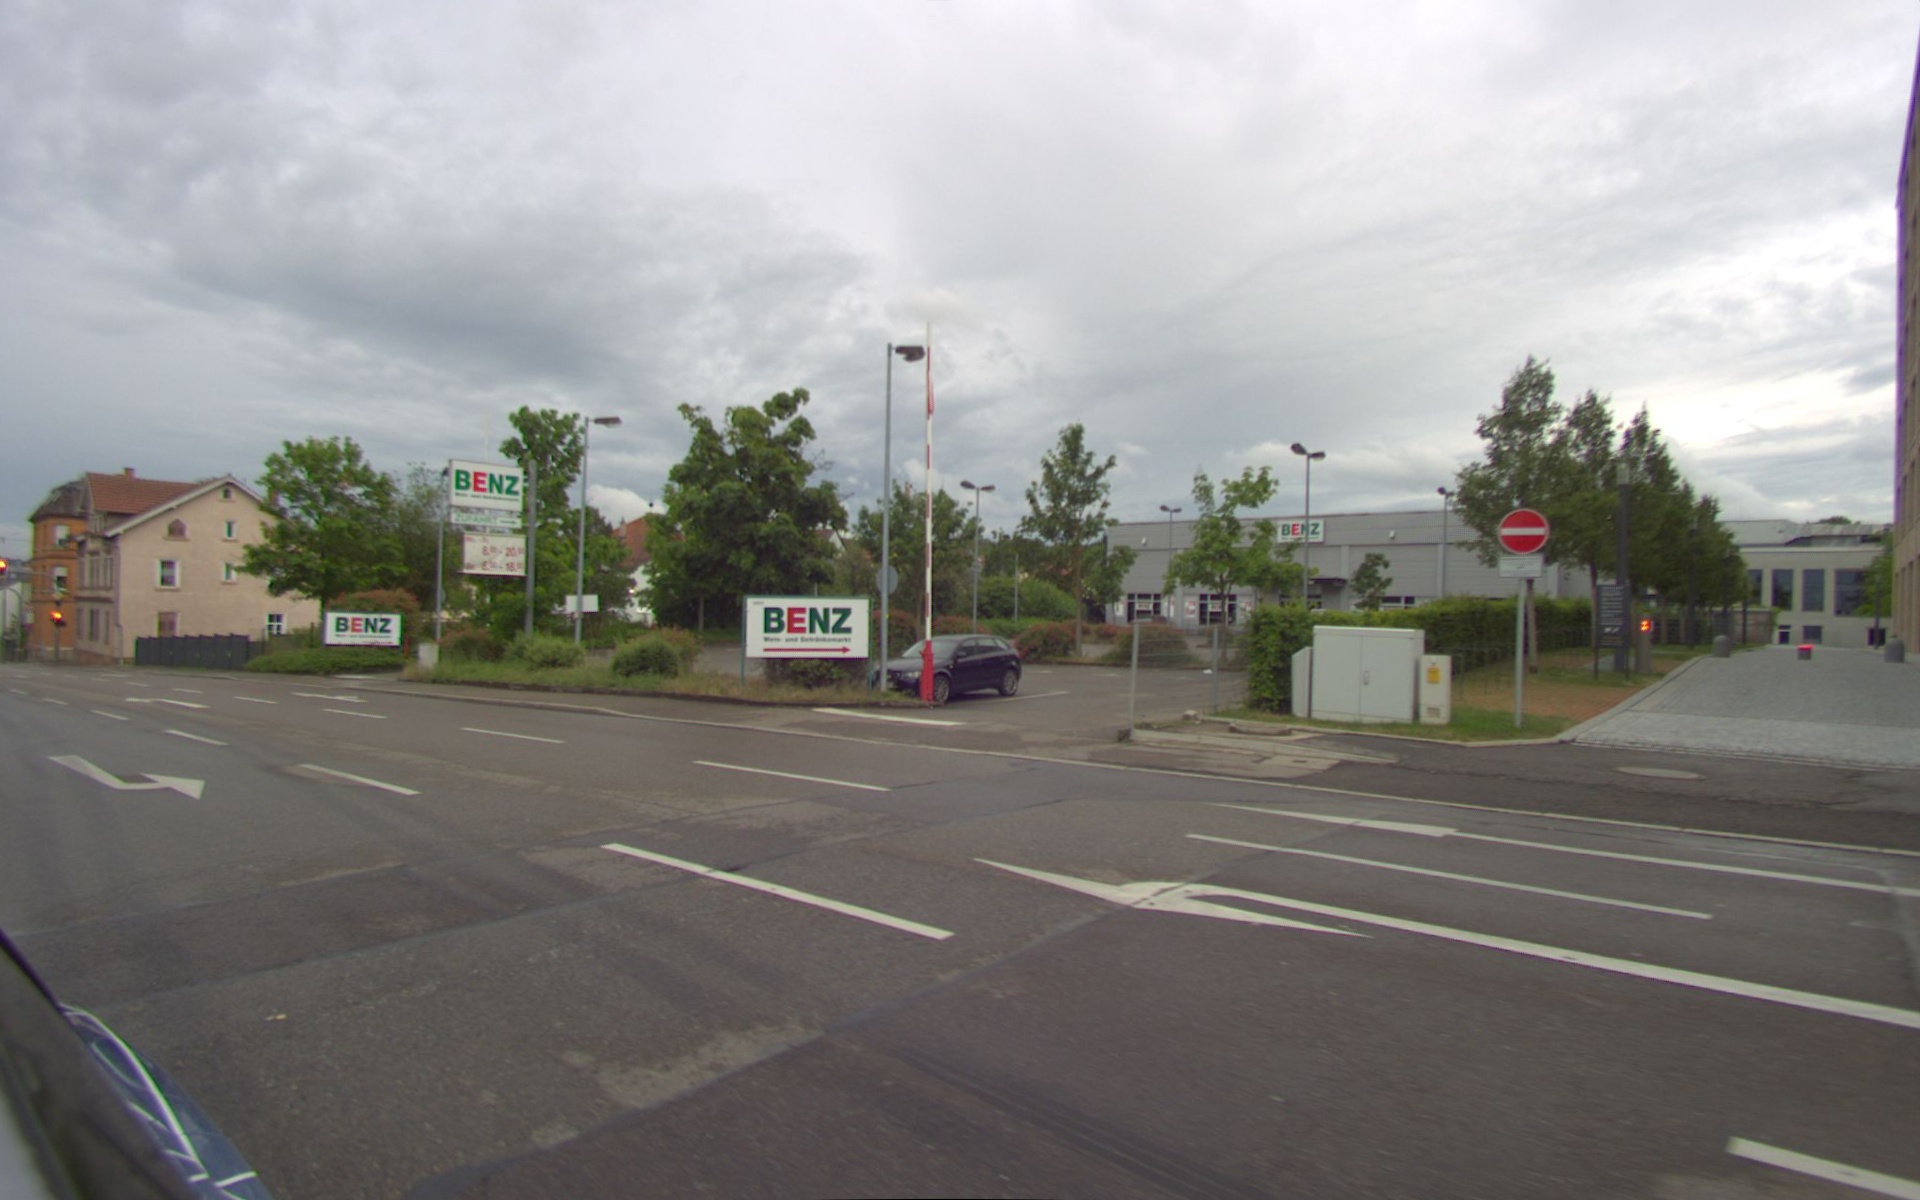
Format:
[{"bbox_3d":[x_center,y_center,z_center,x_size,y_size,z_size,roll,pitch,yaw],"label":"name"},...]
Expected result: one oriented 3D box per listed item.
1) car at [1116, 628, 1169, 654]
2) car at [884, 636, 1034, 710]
[{"bbox_3d":[12.954,2.862,71.605,1.998,1.697,3.947,-2,-2,40],"label":"car"},{"bbox_3d":[0.036,1.589,22.933,1.543,1.475,3.451,-2,-2,41],"label":"car"}]
